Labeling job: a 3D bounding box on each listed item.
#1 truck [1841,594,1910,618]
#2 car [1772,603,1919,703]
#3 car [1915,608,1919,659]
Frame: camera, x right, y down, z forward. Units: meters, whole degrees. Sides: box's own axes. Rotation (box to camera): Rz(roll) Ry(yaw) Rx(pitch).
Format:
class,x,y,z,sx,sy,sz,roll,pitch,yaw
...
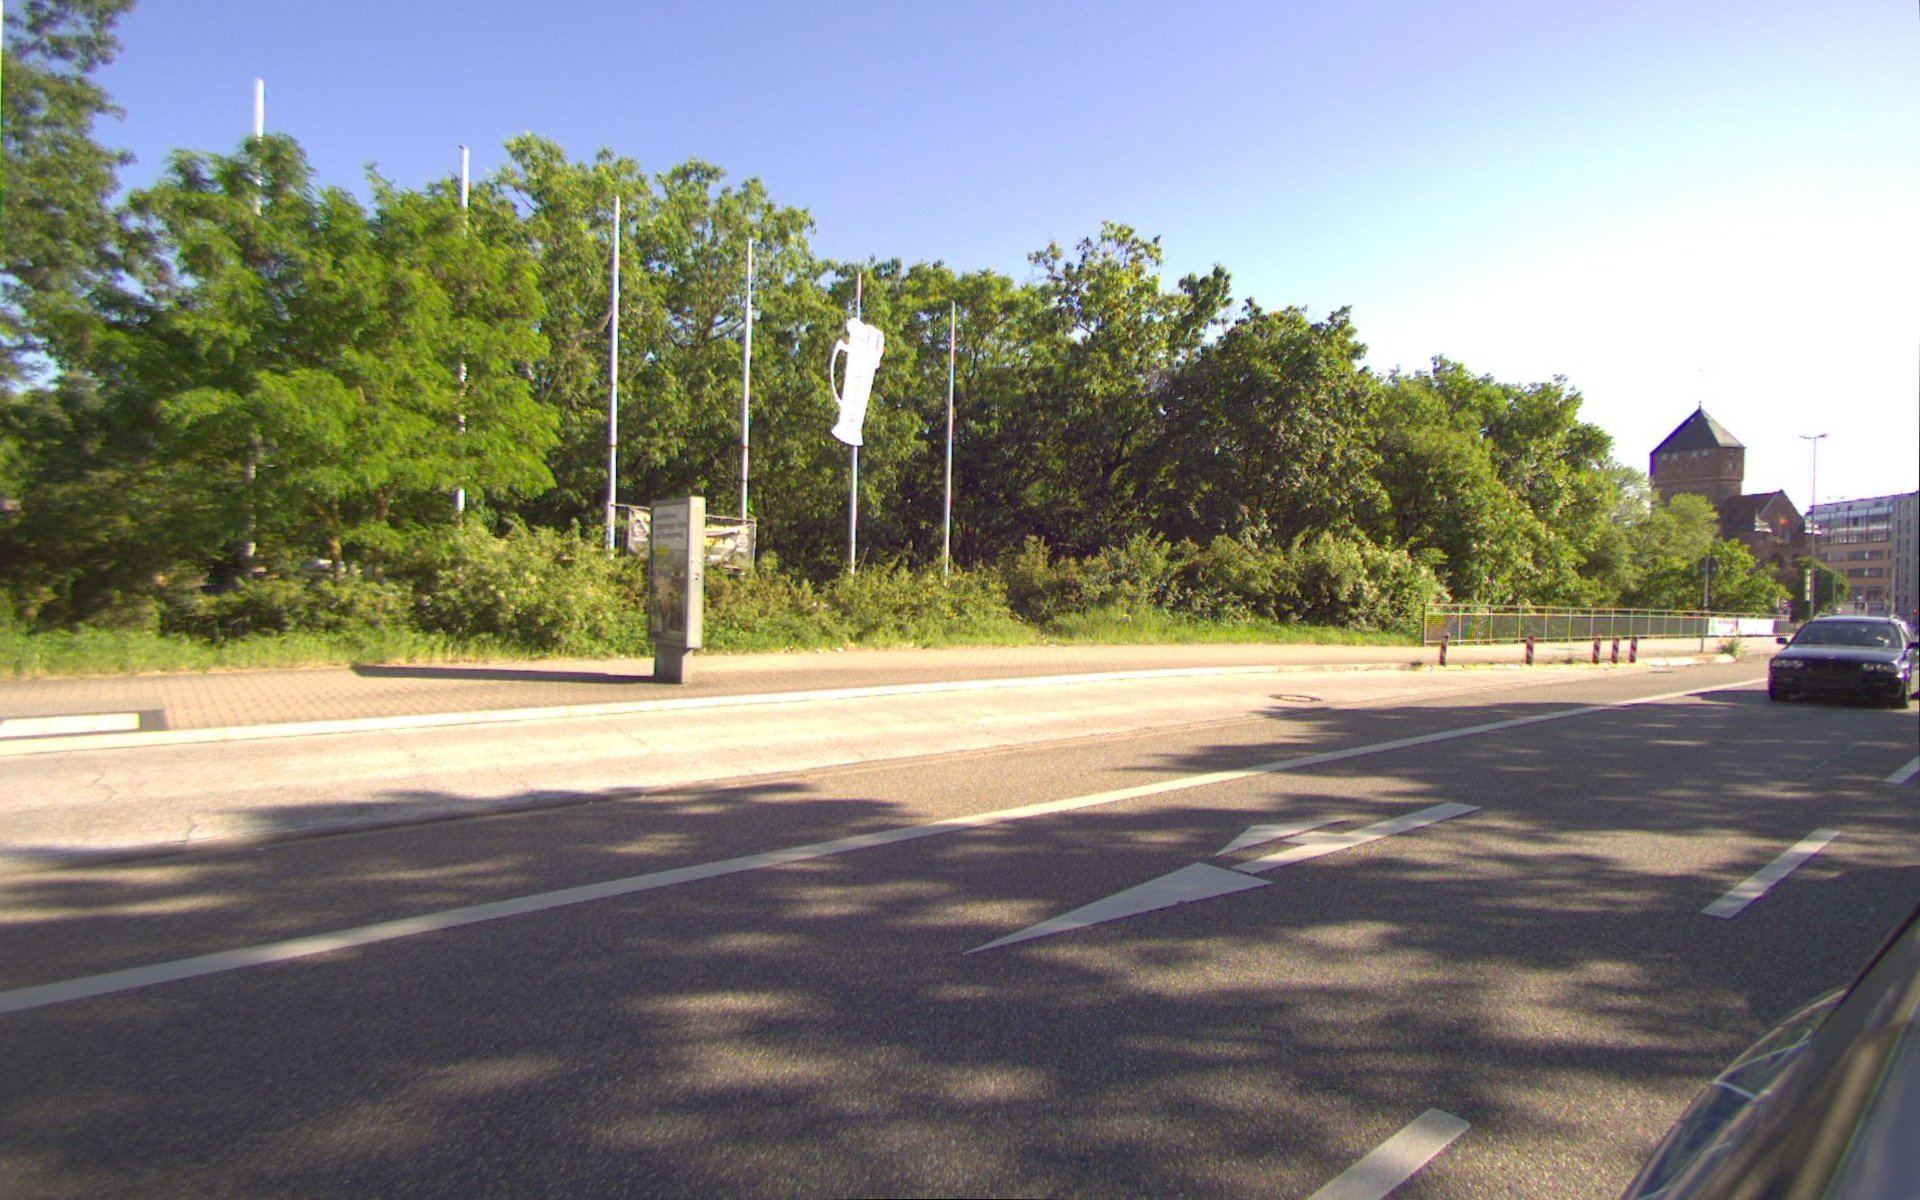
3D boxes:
class,x,y,z,sx,sy,sz,roll,pitch,yaw
truck,137.210,0.834,151.873,3.475,3.291,9.130,1,1,13
car,15.165,0.792,16.895,4.242,1.420,1.775,0,1,-41
car,29.256,1.010,29.402,3.929,1.438,1.784,1,0,-41
